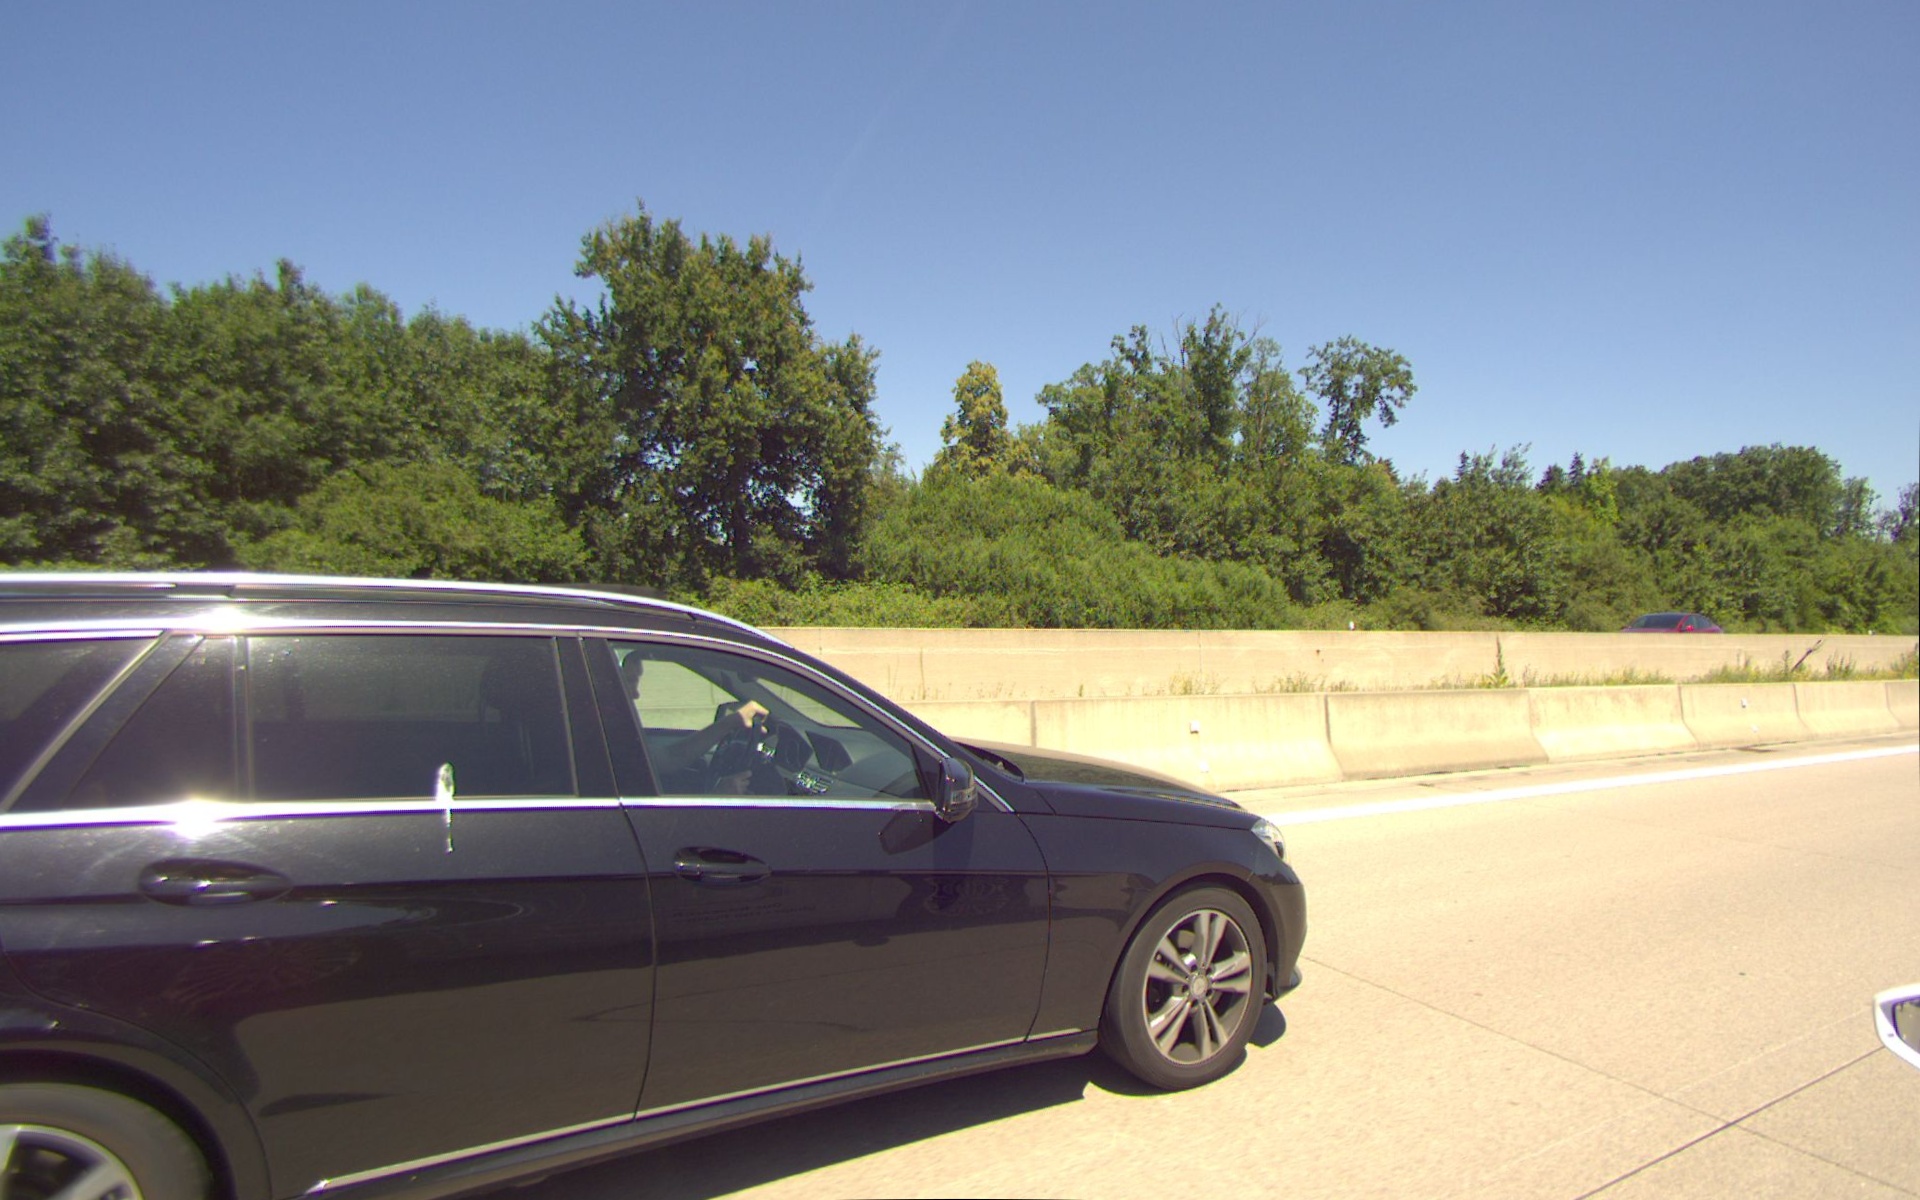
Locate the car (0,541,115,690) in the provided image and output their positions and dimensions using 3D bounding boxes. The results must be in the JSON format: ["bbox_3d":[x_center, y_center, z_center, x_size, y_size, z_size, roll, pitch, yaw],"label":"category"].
[{"bbox_3d":[-12.490,0.144,11.261,4.357,1.680,1.694,1,-1,-32],"label":"car"}]

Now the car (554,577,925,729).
[{"bbox_3d":[-2.761,0.642,12.965,4.357,1.680,1.694,2,-1,-32],"label":"car"}]

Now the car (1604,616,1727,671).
[{"bbox_3d":[23.024,1.386,32.746,4.170,1.692,1.790,1,-1,-31],"label":"car"}]

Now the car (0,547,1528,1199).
[{"bbox_3d":[-0.690,0.653,3.258,5.537,1.493,1.882,0,1,-30],"label":"car"}]
